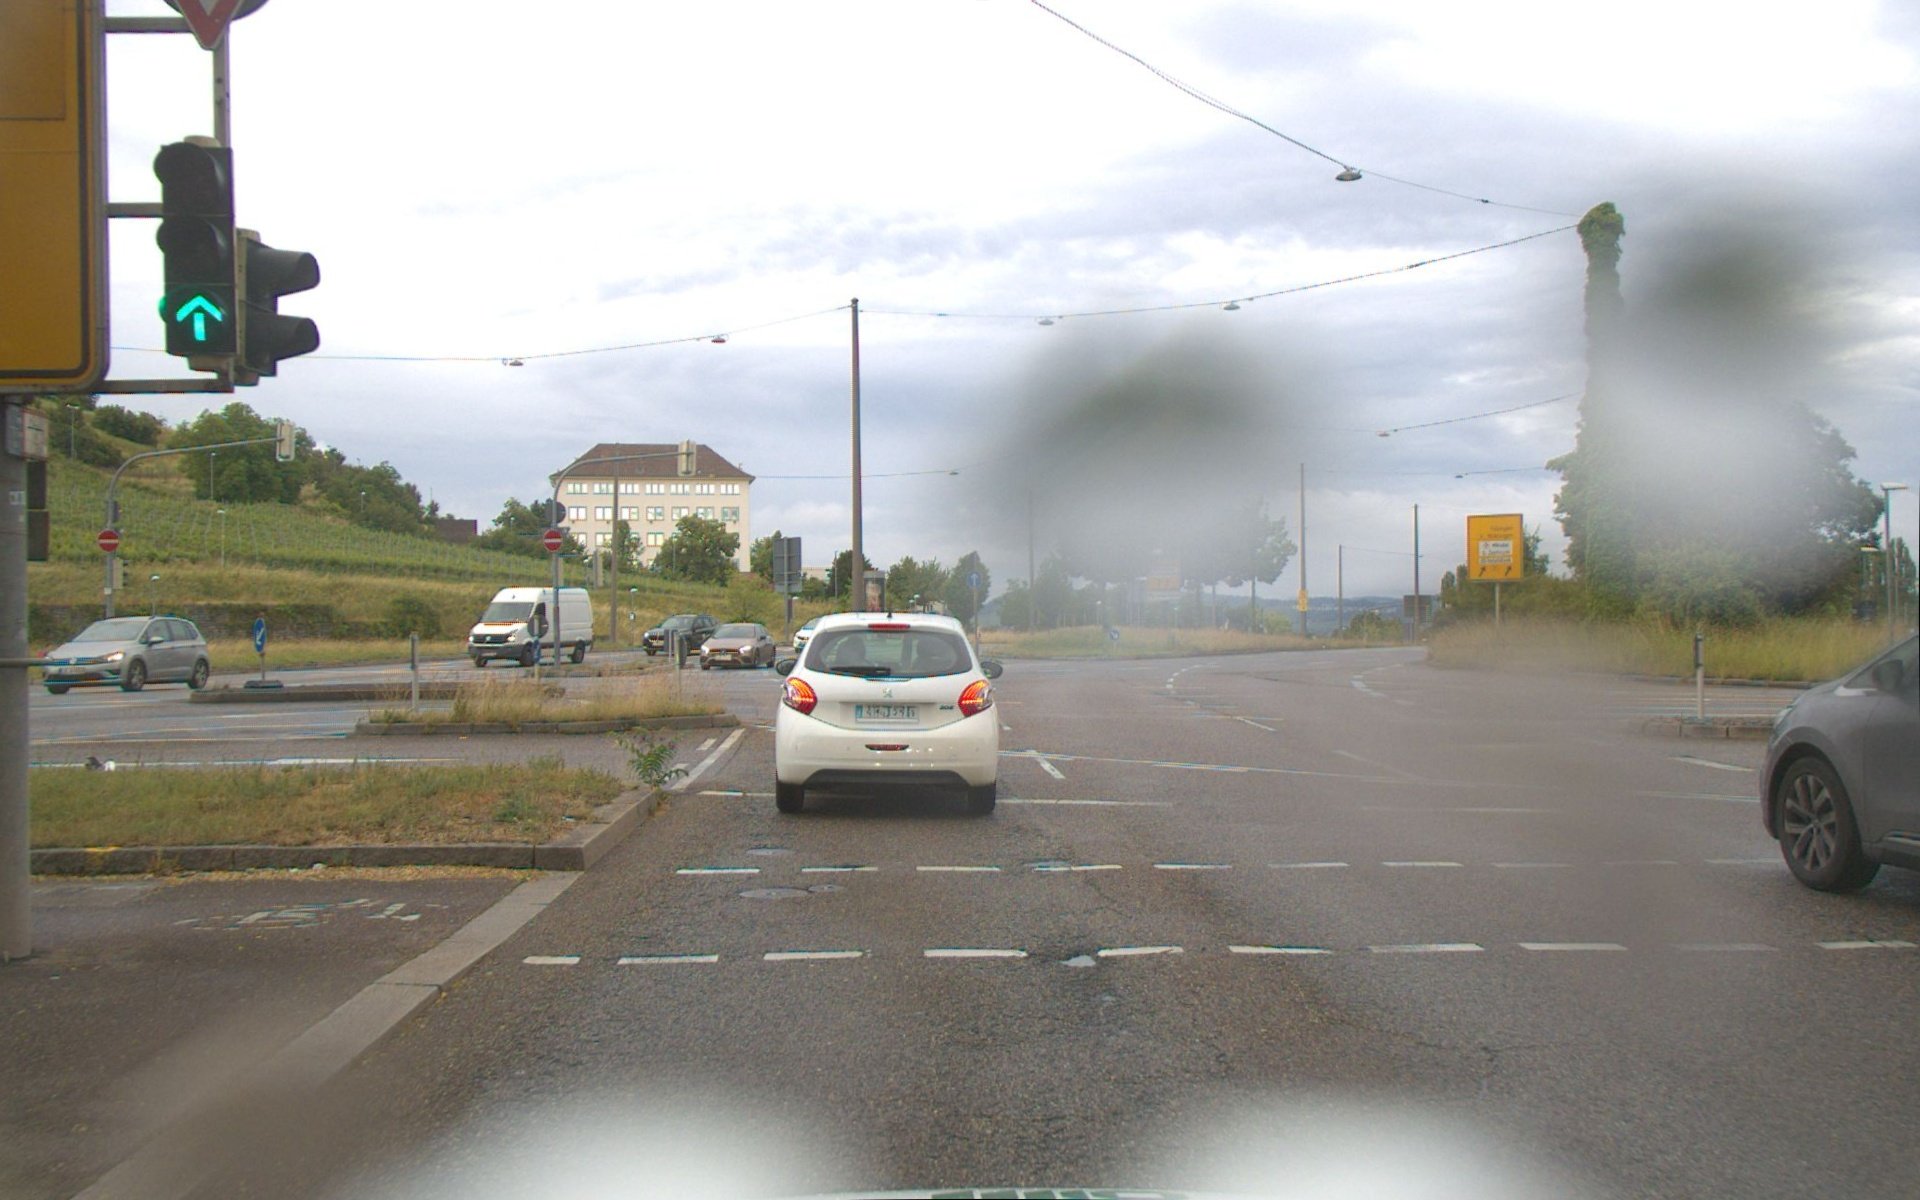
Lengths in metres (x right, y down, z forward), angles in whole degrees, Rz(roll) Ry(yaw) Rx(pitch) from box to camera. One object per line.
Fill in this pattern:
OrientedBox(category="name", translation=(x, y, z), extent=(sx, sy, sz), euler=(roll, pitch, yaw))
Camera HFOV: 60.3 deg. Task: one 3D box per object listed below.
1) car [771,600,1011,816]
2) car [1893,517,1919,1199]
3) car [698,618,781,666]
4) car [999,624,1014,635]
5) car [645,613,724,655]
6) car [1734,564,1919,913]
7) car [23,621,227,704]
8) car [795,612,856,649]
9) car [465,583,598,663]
OrientedBox(category="car", translation=(-0.533, 0.784, 13.620), extent=(1.683, 1.515, 3.998), euler=(0, -1, -2))
OrientedBox(category="car", translation=(2.866, 0.637, 1.311), extent=(1.846, 1.623, 4.111), euler=(1, -1, -2))
OrientedBox(category="car", translation=(-6.981, 1.318, 52.779), extent=(1.738, 1.450, 4.376), euler=(-1, -1, 4))
OrientedBox(category="car", translation=(6.677, 4.231, 236.218), extent=(1.804, 1.512, 3.997), euler=(-1, 0, -3))
OrientedBox(category="car", translation=(-11.377, 1.396, 68.599), extent=(1.738, 1.665, 4.512), euler=(1, -1, 11))
OrientedBox(category="car", translation=(5.625, 0.678, 7.609), extent=(1.828, 1.703, 4.563), euler=(0, 0, -3))
OrientedBox(category="car", translation=(-17.373, 1.267, 34.652), extent=(1.952, 1.603, 4.196), euler=(1, -1, 3))
OrientedBox(category="car", translation=(-5.936, 1.354, 73.404), extent=(1.713, 1.539, 4.003), euler=(1, -1, 10))
OrientedBox(category="car", translation=(-14.668, 0.801, 57.076), extent=(1.951, 2.604, 6.174), euler=(1, -1, 11))
